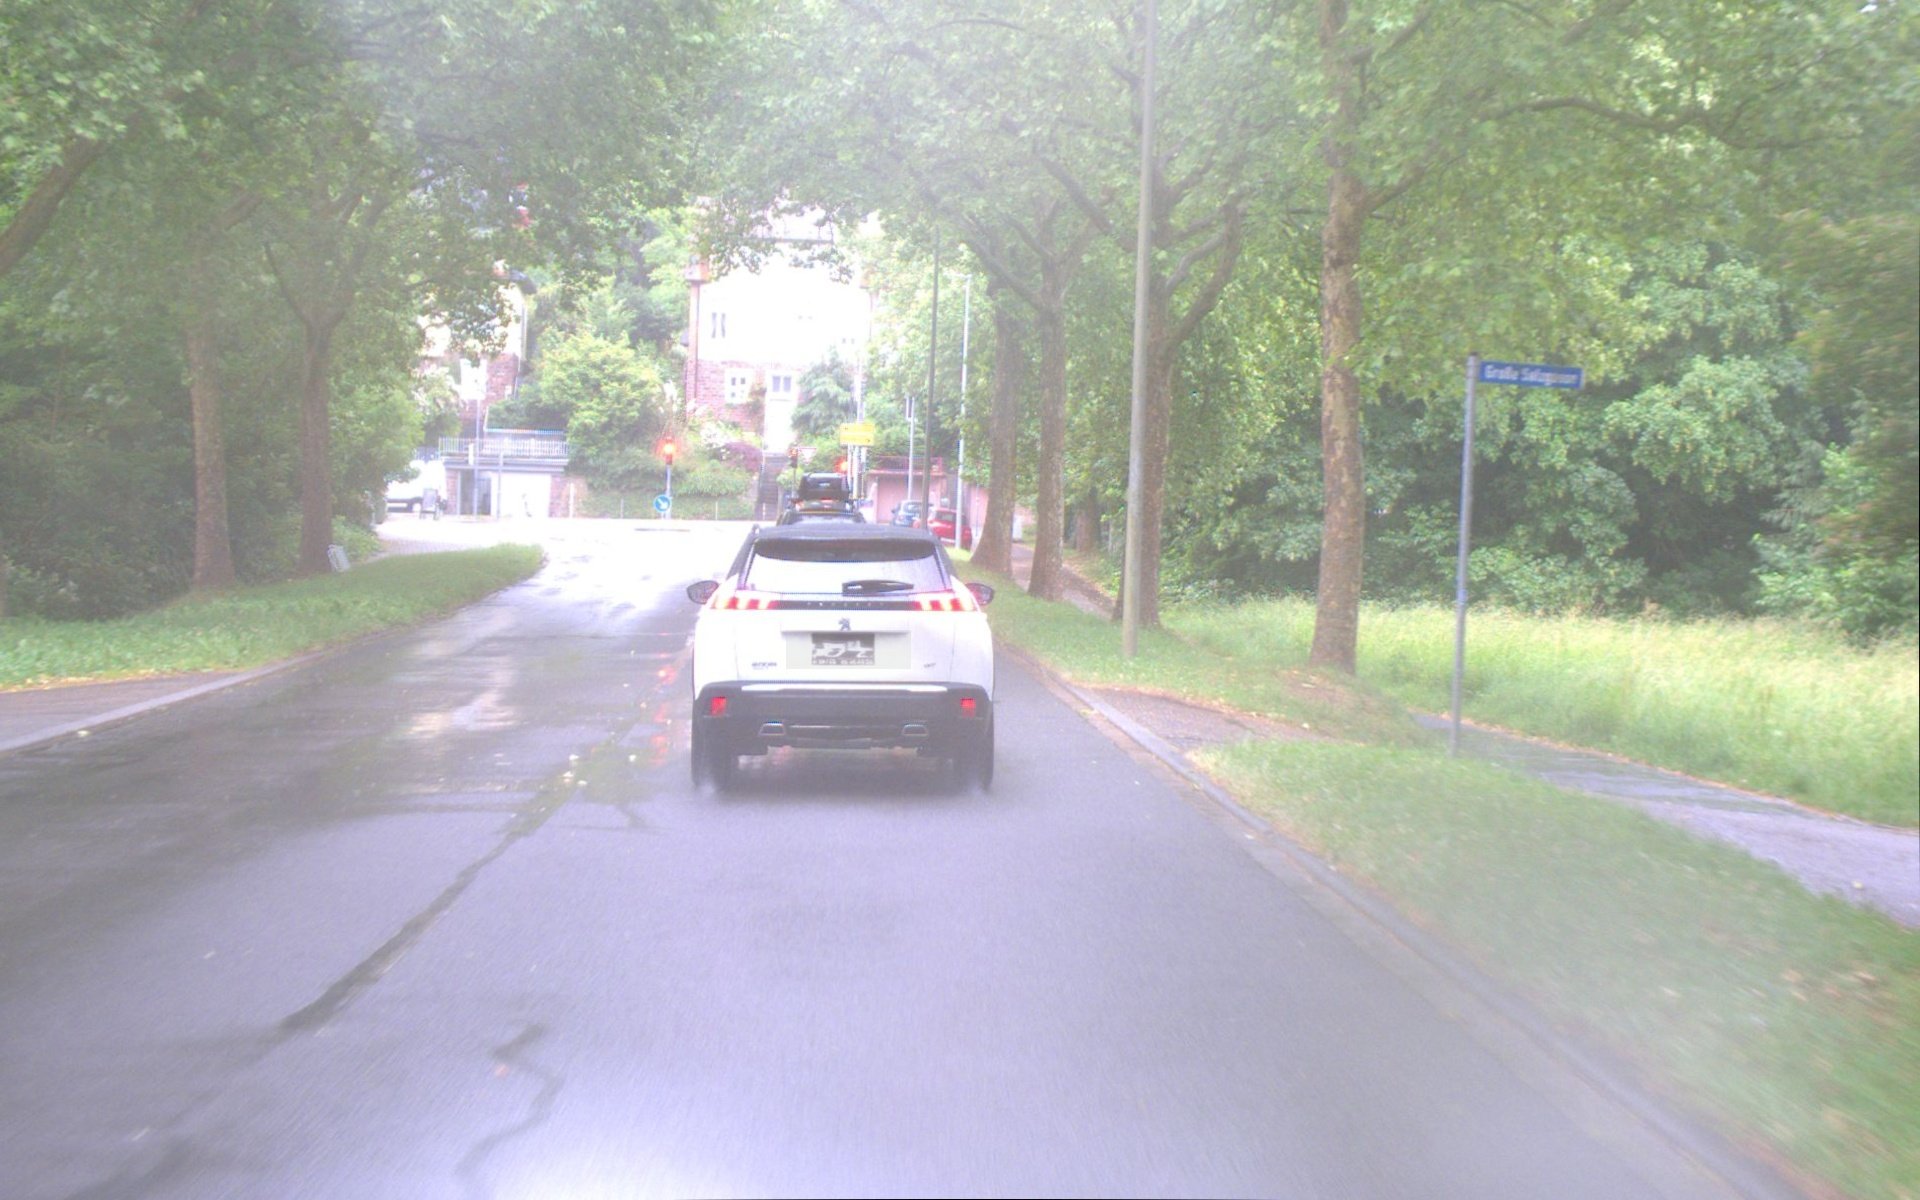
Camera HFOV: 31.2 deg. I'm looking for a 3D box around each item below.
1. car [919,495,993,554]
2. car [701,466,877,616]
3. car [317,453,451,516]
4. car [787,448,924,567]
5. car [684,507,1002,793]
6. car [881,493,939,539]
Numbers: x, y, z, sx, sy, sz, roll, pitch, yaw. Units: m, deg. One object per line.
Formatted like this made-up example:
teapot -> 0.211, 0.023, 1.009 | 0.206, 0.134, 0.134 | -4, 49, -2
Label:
car -> -0.154, -2.532, 114.873 | 1.819, 1.512, 3.745 | 9, 3, -7
car -> -2.023, -0.743, 40.336 | 1.831, 1.451, 4.660 | 5, 3, -4
car -> -26.002, -5.209, 155.360 | 5.660, 2.485, 2.316 | 3, 1, -3
car -> -1.718, -1.518, 55.010 | 1.760, 1.705, 4.602 | 3, 3, -6
car -> -0.822, 0.222, 21.381 | 1.752, 1.530, 4.369 | 1, 2, -5
car -> -1.830, -3.056, 124.383 | 1.749, 1.486, 3.601 | 5, 1, -5
